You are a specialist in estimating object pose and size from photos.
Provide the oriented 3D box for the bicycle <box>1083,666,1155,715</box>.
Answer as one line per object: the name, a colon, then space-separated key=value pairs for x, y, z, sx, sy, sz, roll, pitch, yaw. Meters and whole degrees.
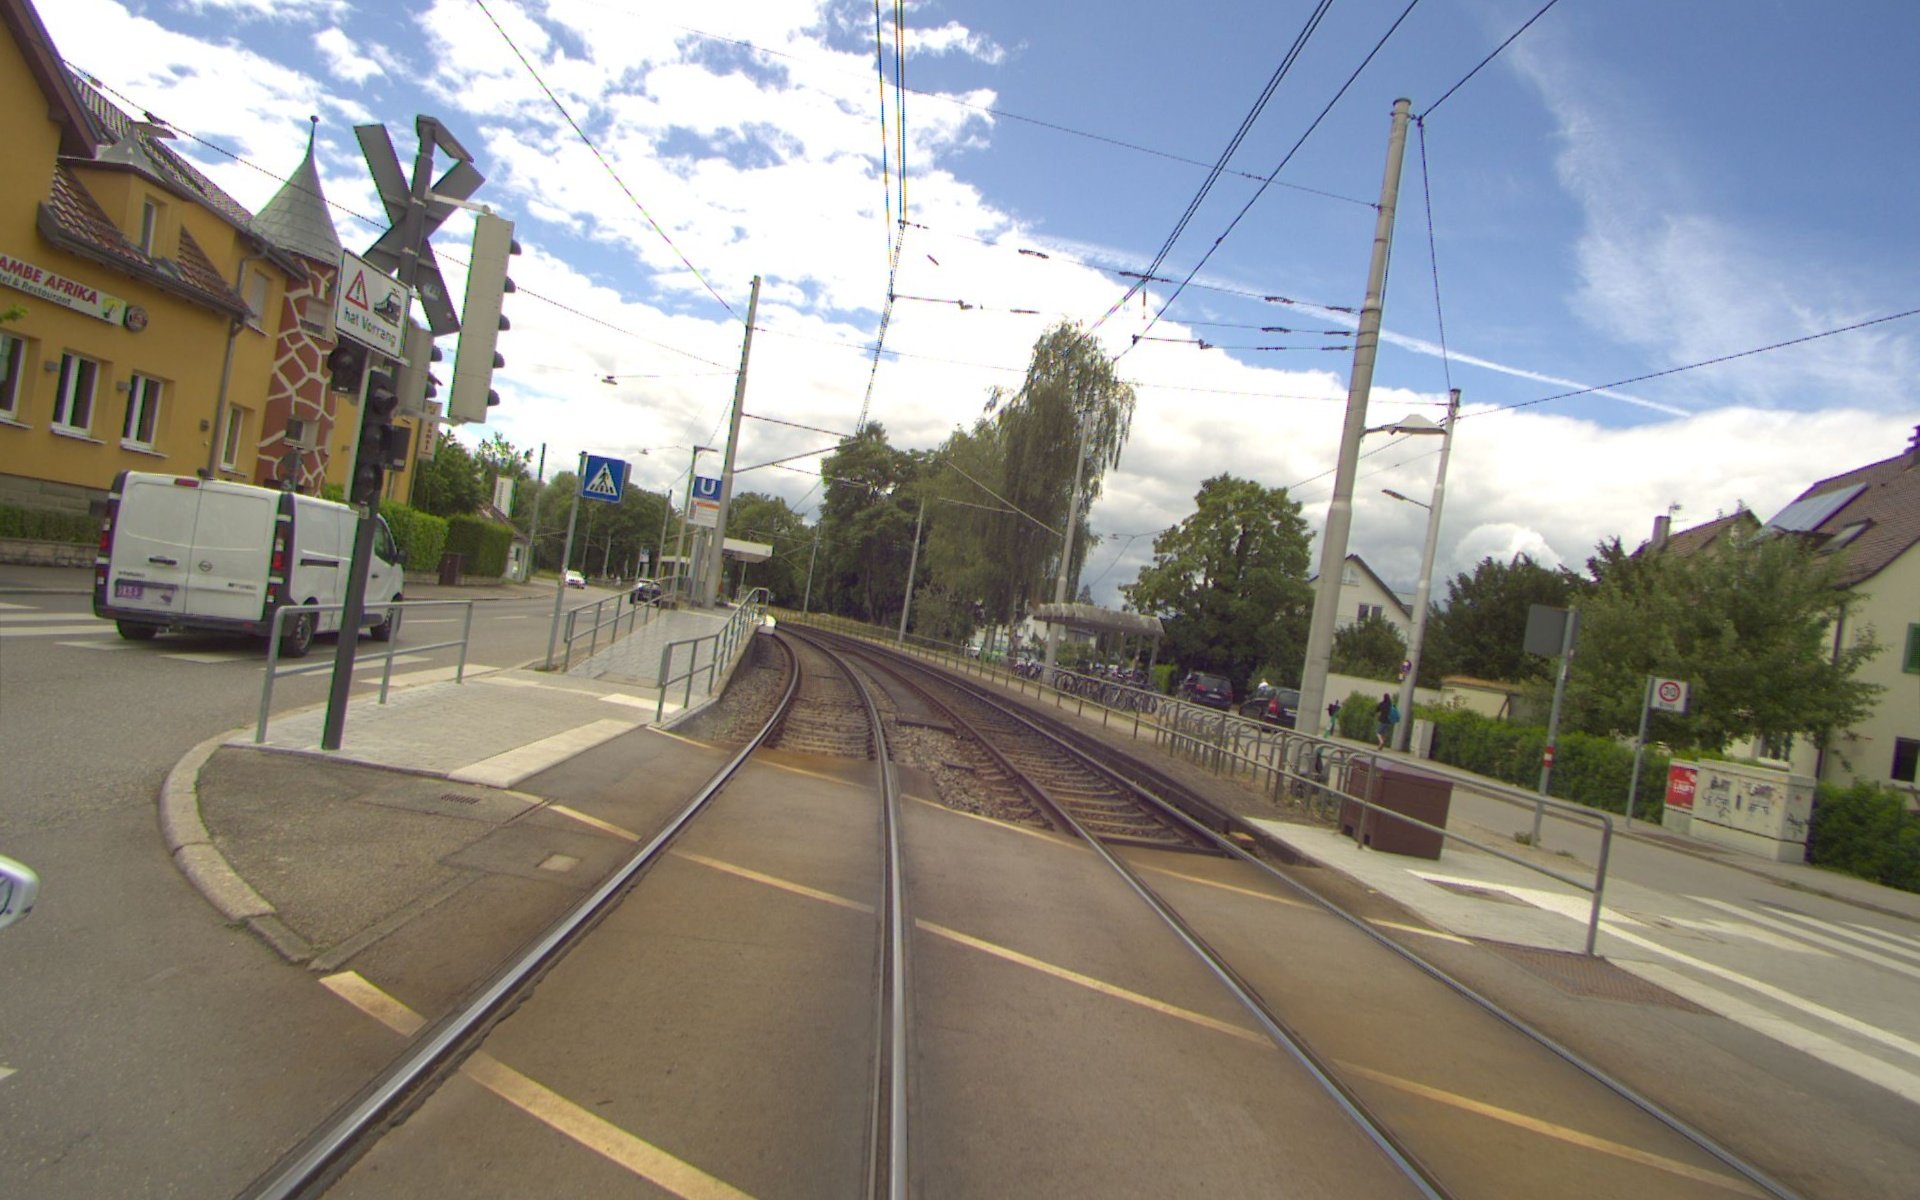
bicycle: x=4.399 y=2.494 z=27.890 sx=1.740 sy=1.053 sz=0.556 roll=10 pitch=-1 yaw=-6

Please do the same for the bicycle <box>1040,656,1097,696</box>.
bicycle: x=3.717 y=2.601 z=34.410 sx=1.740 sy=1.053 sz=0.556 roll=10 pitch=-1 yaw=-6

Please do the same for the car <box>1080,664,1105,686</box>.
car: x=12.481 y=7.054 z=95.065 sx=1.788 sy=1.654 sz=4.245 roll=9 pitch=-1 yaw=4

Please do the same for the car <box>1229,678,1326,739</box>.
car: x=11.034 y=3.742 z=35.299 sx=1.788 sy=1.503 sz=4.423 roll=9 pitch=-1 yaw=0

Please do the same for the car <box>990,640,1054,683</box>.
car: x=3.137 y=3.120 z=51.726 sx=2.038 sy=1.592 sz=4.251 roll=9 pitch=-1 yaw=-12

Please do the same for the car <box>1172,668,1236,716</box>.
car: x=11.101 y=4.148 z=46.036 sx=1.788 sy=1.654 sz=4.843 roll=9 pitch=-1 yaw=4

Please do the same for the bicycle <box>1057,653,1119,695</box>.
bicycle: x=4.063 y=2.342 z=31.925 sx=1.740 sy=1.053 sz=0.556 roll=10 pitch=-1 yaw=-6

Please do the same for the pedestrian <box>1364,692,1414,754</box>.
pedestrian: x=13.195 y=3.764 z=30.934 sx=0.798 sy=1.705 sz=0.946 roll=9 pitch=0 yaw=-12

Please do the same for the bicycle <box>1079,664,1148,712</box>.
bicycle: x=4.382 y=2.516 z=28.749 sx=1.740 sy=1.053 sz=0.556 roll=10 pitch=-1 yaw=-6

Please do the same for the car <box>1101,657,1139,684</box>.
car: x=11.186 y=4.919 z=70.640 sx=1.730 sy=1.505 sz=4.701 roll=8 pitch=-2 yaw=1

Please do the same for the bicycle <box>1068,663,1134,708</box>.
bicycle: x=4.247 y=2.573 z=30.356 sx=1.740 sy=1.053 sz=0.556 roll=10 pitch=-1 yaw=-6

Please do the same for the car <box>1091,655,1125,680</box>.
car: x=11.192 y=5.114 z=76.277 sx=1.730 sy=1.505 sz=3.902 roll=8 pitch=-2 yaw=-1

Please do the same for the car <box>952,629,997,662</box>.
car: x=0.851 y=2.781 z=61.988 sx=1.735 sy=1.592 sz=4.091 roll=9 pitch=-1 yaw=-12

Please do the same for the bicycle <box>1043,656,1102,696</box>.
bicycle: x=3.777 y=2.545 z=33.741 sx=1.740 sy=1.053 sz=0.556 roll=10 pitch=-1 yaw=-6

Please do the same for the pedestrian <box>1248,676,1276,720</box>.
pedestrian: x=13.349 y=4.333 z=44.457 sx=0.813 sy=1.792 sz=0.683 roll=9 pitch=0 yaw=28

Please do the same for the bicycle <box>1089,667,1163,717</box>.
bicycle: x=4.472 y=2.480 z=27.175 sx=1.740 sy=1.053 sz=0.556 roll=10 pitch=-1 yaw=-6

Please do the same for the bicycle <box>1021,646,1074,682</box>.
bicycle: x=3.217 y=2.347 z=36.921 sx=1.745 sy=1.053 sz=0.555 roll=10 pitch=-1 yaw=-16

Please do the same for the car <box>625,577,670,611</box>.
car: x=-19.058 y=-0.368 z=61.436 sx=2.331 sy=1.581 sz=4.357 roll=11 pitch=-2 yaw=-17

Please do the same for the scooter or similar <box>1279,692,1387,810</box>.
scooter or similar: x=4.841 y=1.955 z=13.090 sx=1.033 sy=1.332 sz=0.489 roll=9 pitch=1 yaw=-4

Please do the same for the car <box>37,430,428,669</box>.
car: x=-9.020 y=-0.540 z=13.256 sx=2.093 sy=2.158 sz=5.425 roll=10 pitch=-2 yaw=-15

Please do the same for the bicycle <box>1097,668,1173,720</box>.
bicycle: x=4.568 y=2.447 z=26.277 sx=1.740 sy=1.053 sz=0.556 roll=10 pitch=-1 yaw=-6

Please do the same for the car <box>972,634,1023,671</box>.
car: x=2.072 y=2.921 z=56.455 sx=1.709 sy=1.592 sz=3.991 roll=9 pitch=-1 yaw=-12

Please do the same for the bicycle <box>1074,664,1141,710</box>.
bicycle: x=4.306 y=2.541 z=29.457 sx=1.740 sy=1.053 sz=0.556 roll=10 pitch=-1 yaw=-6

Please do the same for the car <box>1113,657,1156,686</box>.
car: x=11.177 y=4.588 z=64.773 sx=1.730 sy=1.505 sz=4.933 roll=8 pitch=-2 yaw=1

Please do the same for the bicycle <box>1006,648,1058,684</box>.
bicycle: x=2.693 y=2.454 z=37.596 sx=1.745 sy=1.053 sz=0.555 roll=10 pitch=-1 yaw=-17

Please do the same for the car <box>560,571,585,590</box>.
car: x=-34.010 y=-1.732 z=88.246 sx=1.800 sy=1.436 sz=4.439 roll=7 pitch=-1 yaw=-23
